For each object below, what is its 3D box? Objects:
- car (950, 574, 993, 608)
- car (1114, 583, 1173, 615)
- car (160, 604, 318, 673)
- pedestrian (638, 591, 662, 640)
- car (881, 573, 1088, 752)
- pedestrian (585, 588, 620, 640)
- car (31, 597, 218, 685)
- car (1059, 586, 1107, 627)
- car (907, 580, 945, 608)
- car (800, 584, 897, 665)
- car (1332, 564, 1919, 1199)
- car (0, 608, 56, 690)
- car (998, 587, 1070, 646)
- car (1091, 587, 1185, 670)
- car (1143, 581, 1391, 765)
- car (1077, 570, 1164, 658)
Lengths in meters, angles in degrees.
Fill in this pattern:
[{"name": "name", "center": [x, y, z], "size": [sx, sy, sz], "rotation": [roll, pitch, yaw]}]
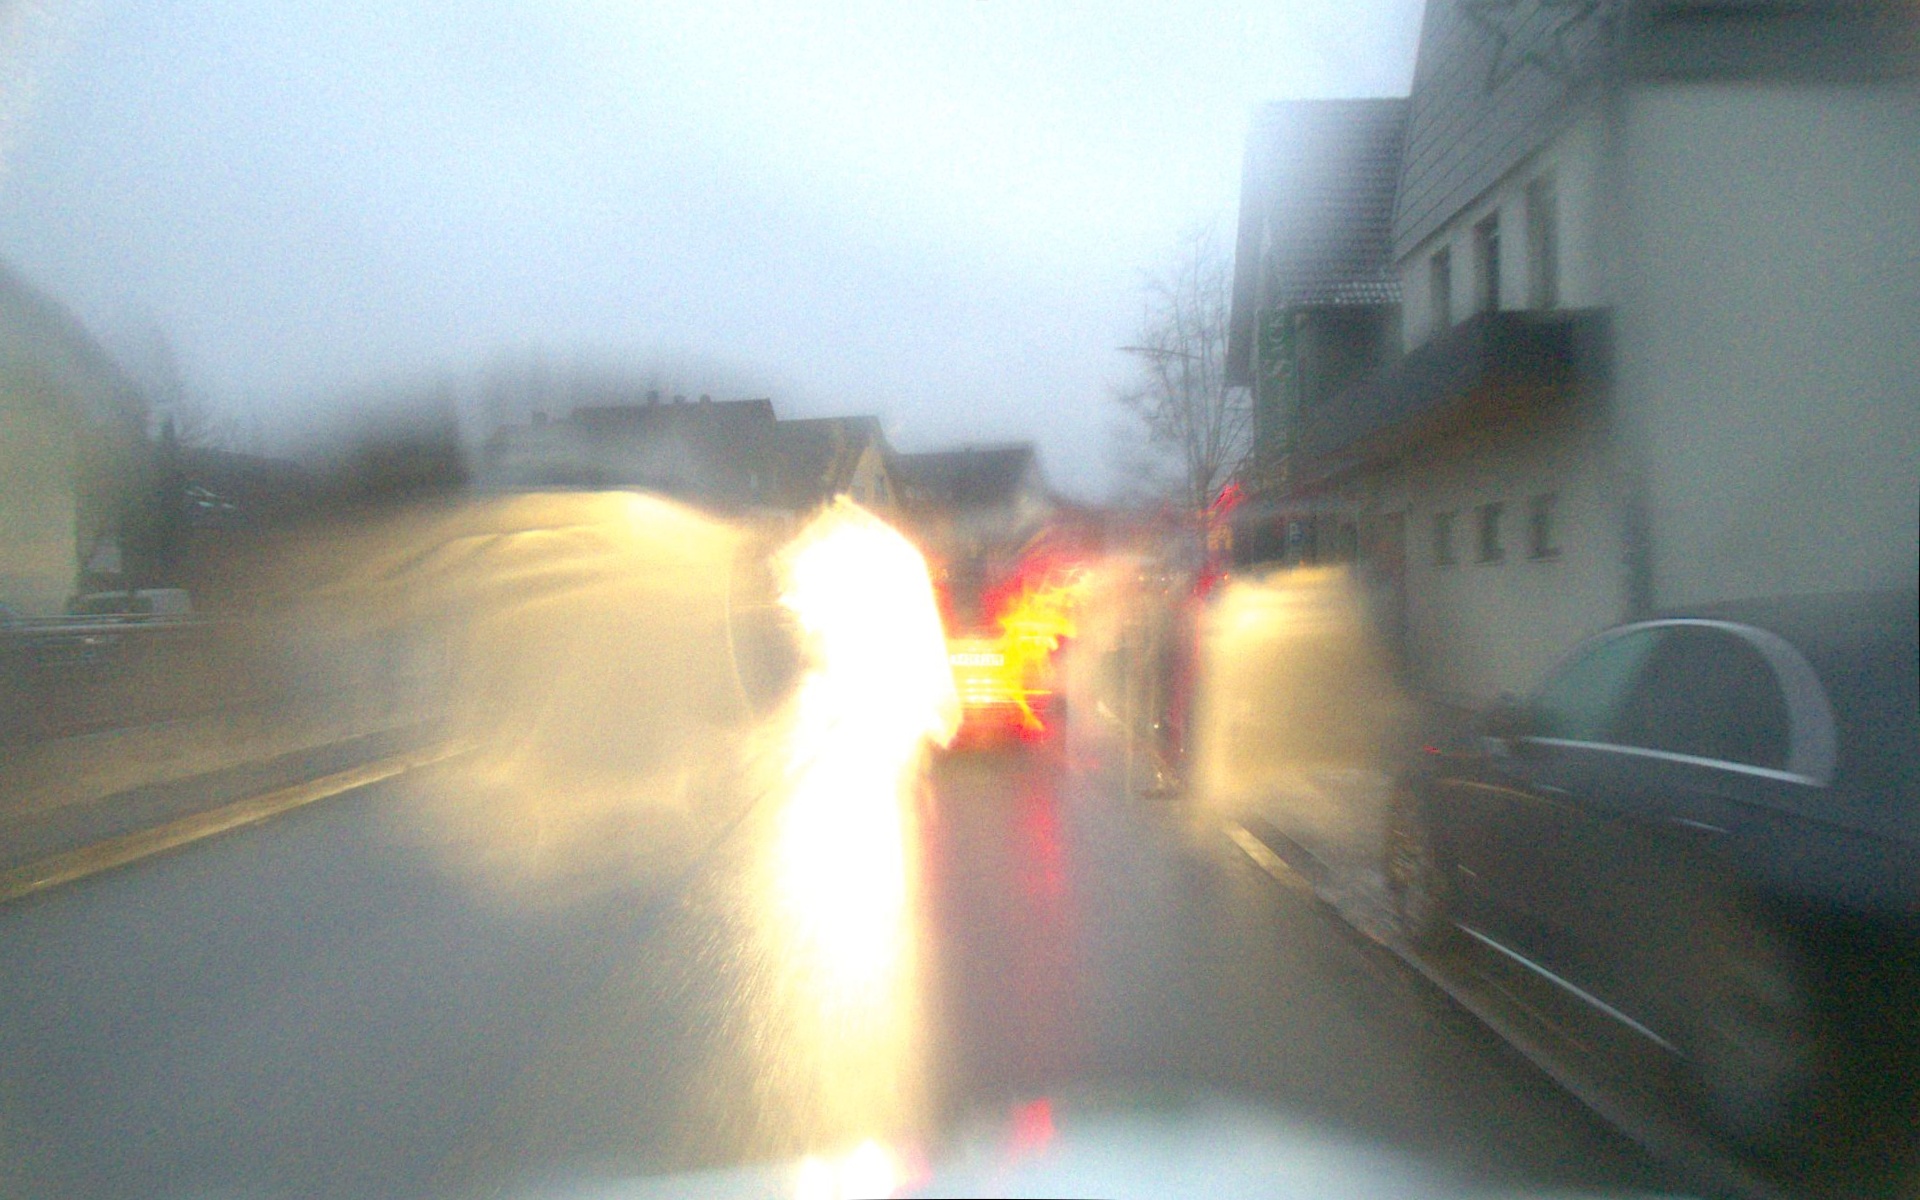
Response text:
[{"name": "car", "center": [0.682, -0.554, 100.785], "size": [2.000, 1.959, 4.048], "rotation": [-1, 1, -9]}, {"name": "car", "center": [8.742, -0.073, 78.502], "size": [1.952, 1.416, 4.002], "rotation": [-1, 1, 18]}, {"name": "car", "center": [-19.419, 0.995, 44.790], "size": [1.834, 1.600, 4.505], "rotation": [-3, 1, 7]}, {"name": "pedestrian", "center": [-10.931, 0.544, 58.311], "size": [0.649, 1.727, 0.542], "rotation": [0, 1, 13]}, {"name": "car", "center": [0.240, 0.545, 17.518], "size": [1.924, 1.622, 4.314], "rotation": [0, 1, 0]}, {"name": "pedestrian", "center": [-12.701, 0.478, 58.794], "size": [0.908, 1.815, 0.974], "rotation": [0, 1, 13]}, {"name": "car", "center": [-19.895, 0.922, 39.622], "size": [1.834, 1.809, 4.504], "rotation": [-3, 1, 5]}, {"name": "car", "center": [4.720, 0.229, 63.449], "size": [1.776, 1.436, 4.003], "rotation": [0, 2, 4]}, {"name": "car", "center": [-2.088, -0.369, 101.475], "size": [1.788, 1.641, 4.048], "rotation": [-1, 1, -9]}, {"name": "car", "center": [-2.280, 0.477, 34.653], "size": [1.696, 1.563, 3.781], "rotation": [1, 0, 1]}, {"name": "car", "center": [2.853, 0.716, 5.538], "size": [1.917, 1.559, 5.007], "rotation": [1, 0, -2]}, {"name": "car", "center": [-20.550, 1.065, 33.490], "size": [1.834, 1.626, 4.228], "rotation": [-3, 1, 5]}, {"name": "car", "center": [1.941, 0.410, 44.607], "size": [1.648, 1.478, 3.999], "rotation": [1, 0, -1]}, {"name": "car", "center": [3.441, 0.516, 32.327], "size": [1.611, 1.440, 2.729], "rotation": [-3, 1, 3]}, {"name": "car", "center": [2.853, 0.614, 16.226], "size": [1.618, 1.480, 4.238], "rotation": [-3, 0, 0]}, {"name": "car", "center": [3.752, 0.274, 38.134], "size": [1.732, 1.813, 4.003], "rotation": [-4, 0, 8]}]
